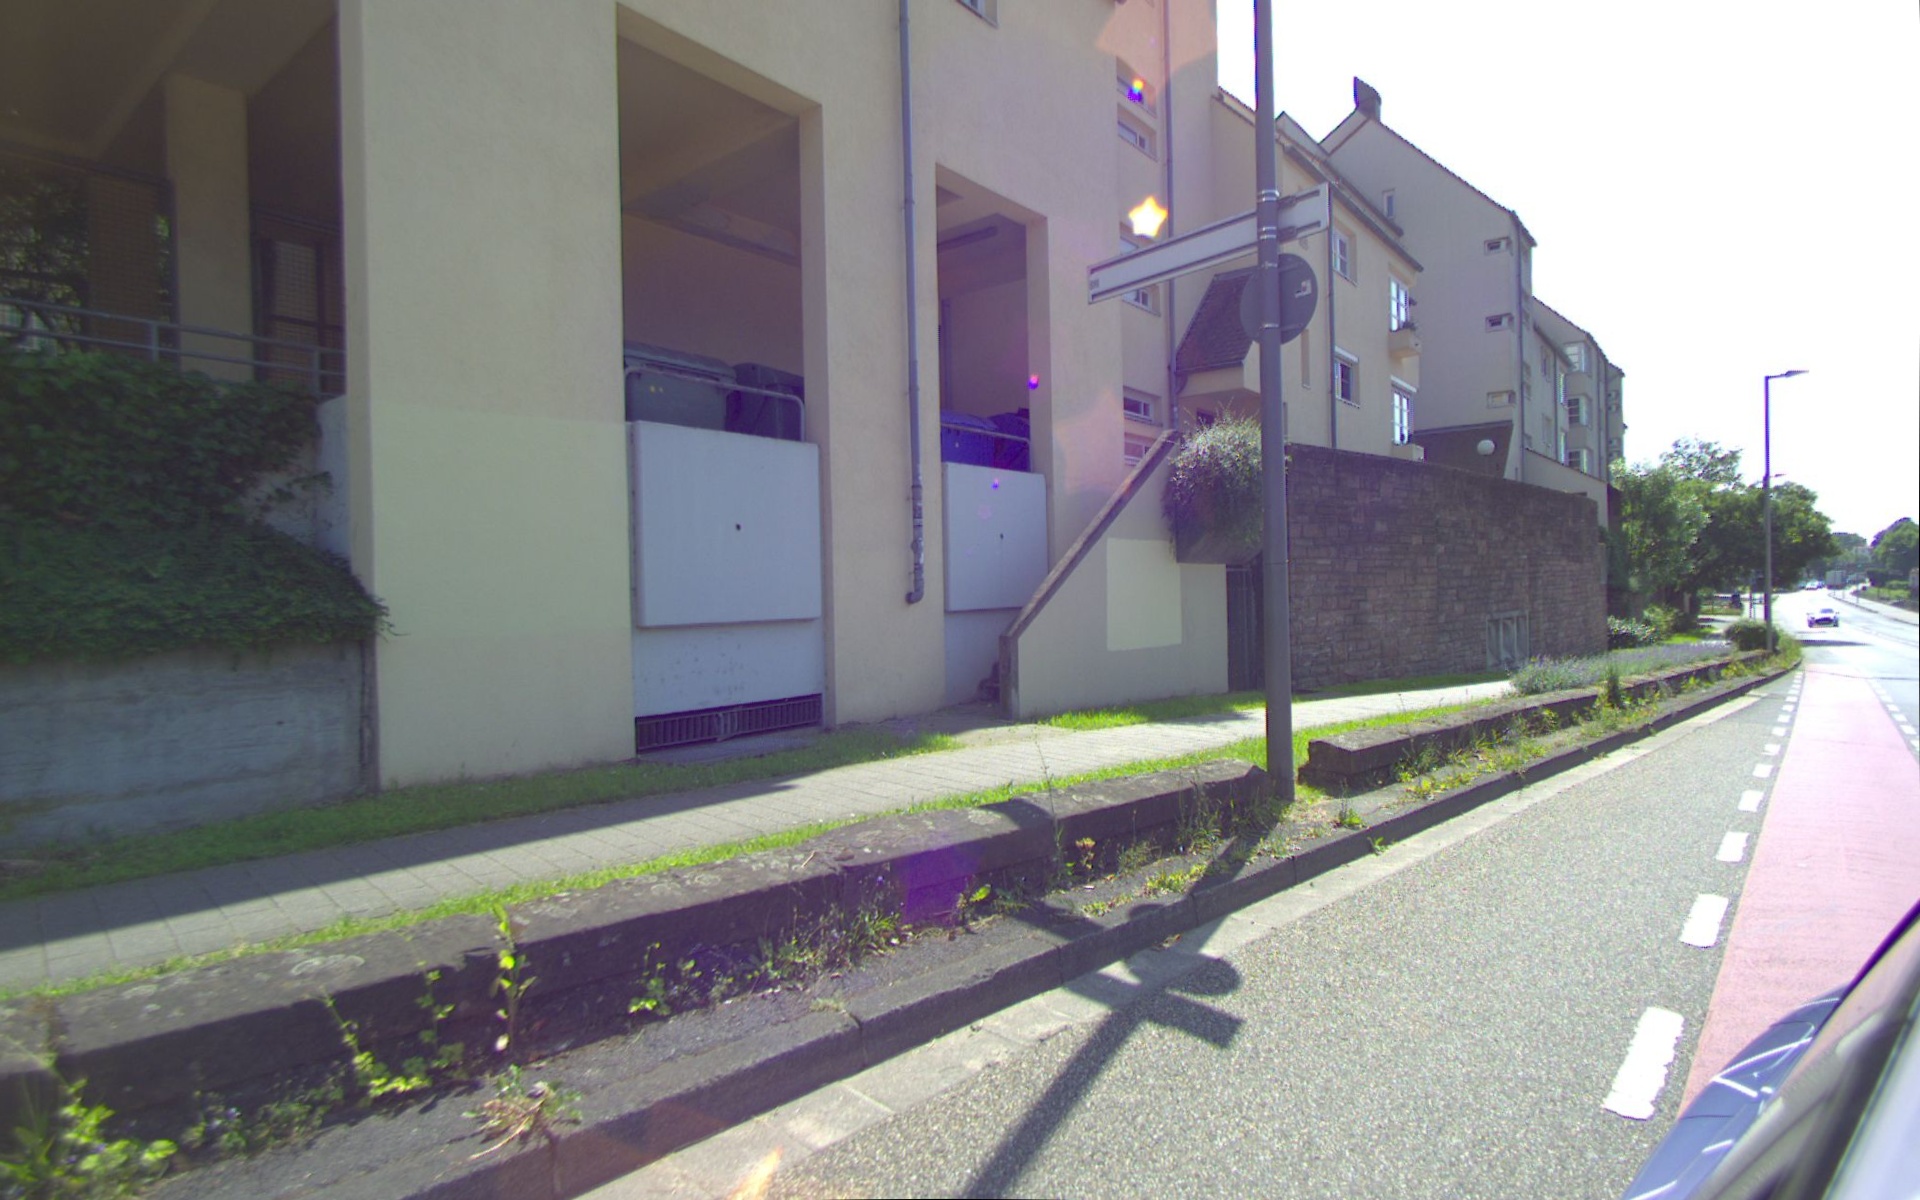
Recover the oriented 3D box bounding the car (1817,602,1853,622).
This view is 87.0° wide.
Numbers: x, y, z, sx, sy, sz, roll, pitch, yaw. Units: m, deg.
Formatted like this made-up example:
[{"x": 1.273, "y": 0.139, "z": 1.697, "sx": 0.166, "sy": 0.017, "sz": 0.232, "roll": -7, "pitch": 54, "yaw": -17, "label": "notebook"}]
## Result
[{"x": 65.795, "y": 0.885, "z": 76.113, "sx": 1.992, "sy": 1.460, "sz": 3.940, "roll": 1, "pitch": 0, "yaw": 41, "label": "car"}]
